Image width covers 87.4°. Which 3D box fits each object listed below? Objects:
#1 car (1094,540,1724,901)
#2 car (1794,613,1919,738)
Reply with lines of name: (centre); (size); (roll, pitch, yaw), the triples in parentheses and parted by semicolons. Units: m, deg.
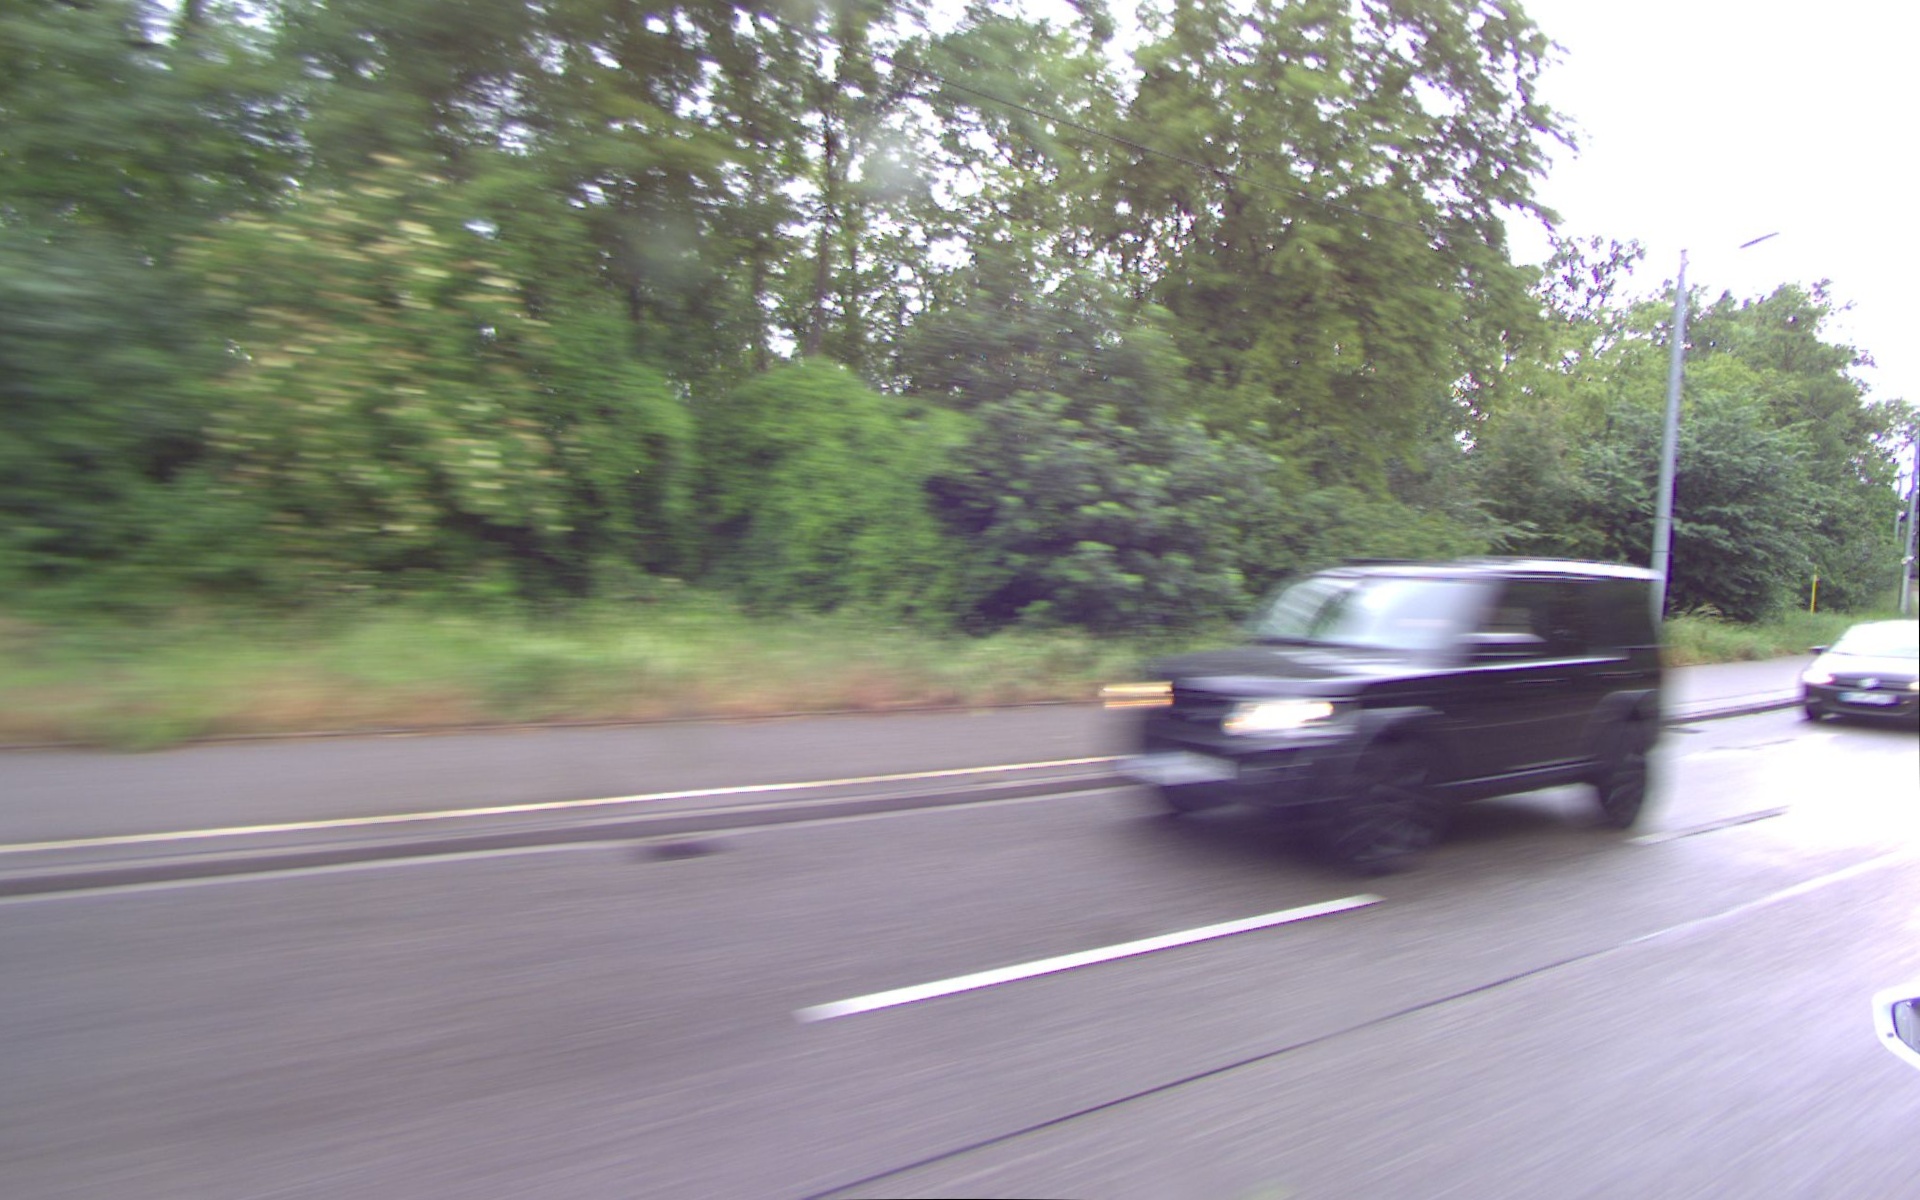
car: (3.365, 0.602, 7.212); (4.659, 1.868, 1.816); (0, 3, -33)
car: (13.913, 1.021, 14.897); (3.969, 1.460, 1.810); (-2, 3, -42)
